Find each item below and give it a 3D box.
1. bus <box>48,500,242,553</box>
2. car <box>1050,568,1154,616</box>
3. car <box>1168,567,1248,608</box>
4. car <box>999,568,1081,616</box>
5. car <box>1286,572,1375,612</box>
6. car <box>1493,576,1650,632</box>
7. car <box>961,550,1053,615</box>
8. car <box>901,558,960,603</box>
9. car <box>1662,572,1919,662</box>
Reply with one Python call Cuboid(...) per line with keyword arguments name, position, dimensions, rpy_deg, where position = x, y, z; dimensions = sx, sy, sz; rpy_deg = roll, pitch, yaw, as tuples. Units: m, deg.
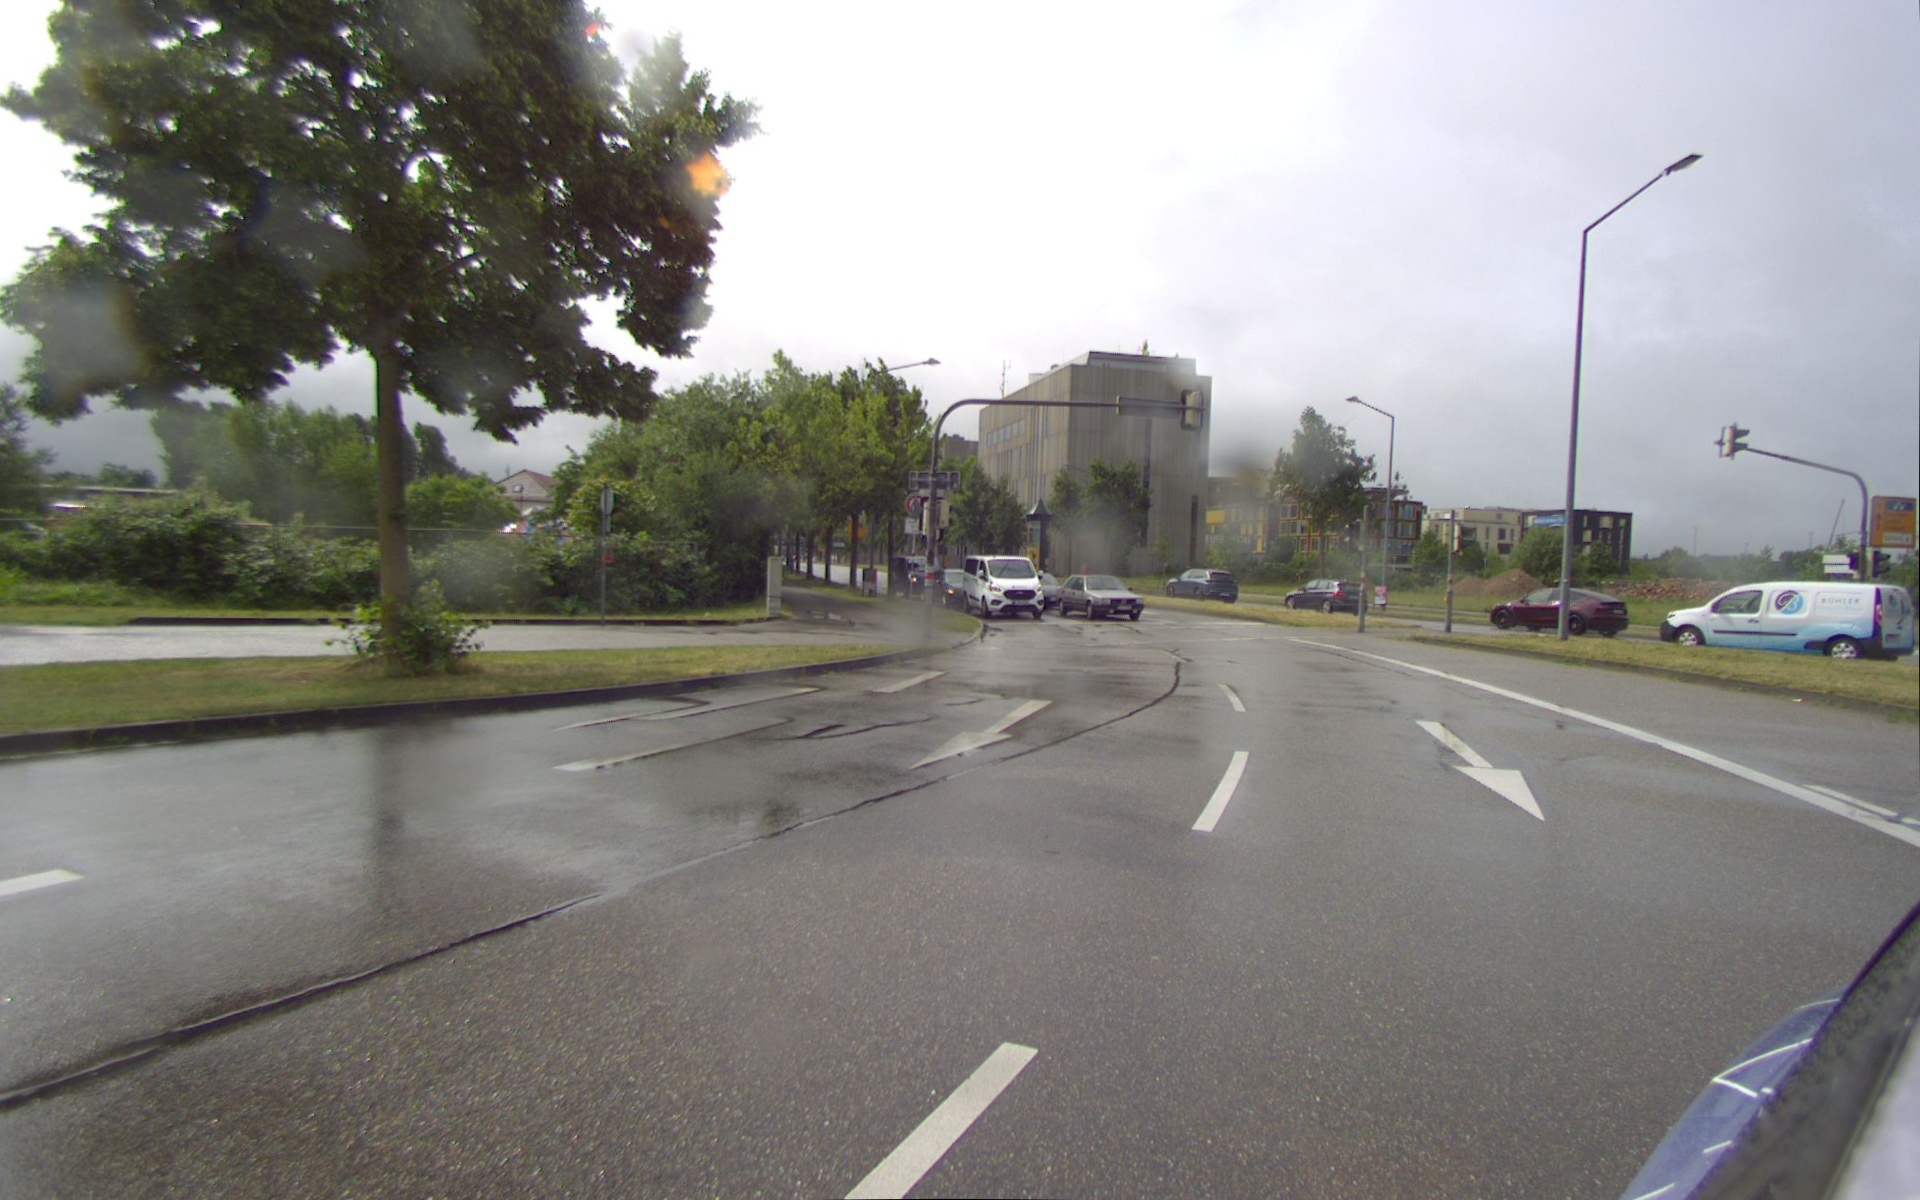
Cuboid(name="bus", position=(-58.469, -5.221, 72.997), dimensions=(10.756, 3.503, 2.004), rpy_deg=(0, 1, -22))
Cuboid(name="car", position=(4.635, -0.312, 33.775), dimensions=(1.828, 1.397, 4.563), rpy_deg=(1, 2, -14))
Cuboid(name="car", position=(11.958, -0.643, 49.086), dimensions=(2.000, 1.779, 4.332), rpy_deg=(3, 2, -12))
Cuboid(name="car", position=(3.066, -0.359, 39.714), dimensions=(1.828, 1.554, 4.500), rpy_deg=(2, 3, -14))
Cuboid(name="car", position=(16.187, -0.402, 44.399), dimensions=(1.773, 1.547, 4.009), rpy_deg=(2, 2, -11))
Cuboid(name="car", position=(21.774, 0.102, 36.247), dimensions=(1.836, 1.677, 4.510), rpy_deg=(2, 2, -24))
Cuboid(name="car", position=(1.492, -0.629, 34.137), dimensions=(2.035, 2.012, 4.810), rpy_deg=(1, 2, -10))
Cuboid(name="car", position=(-1.497, -0.982, 48.911), dimensions=(2.035, 2.012, 4.810), rpy_deg=(2, 2, -11))
Cuboid(name="car", position=(19.130, 0.314, 23.245), dimensions=(1.829, 1.784, 4.561), rpy_deg=(2, 2, -26))
